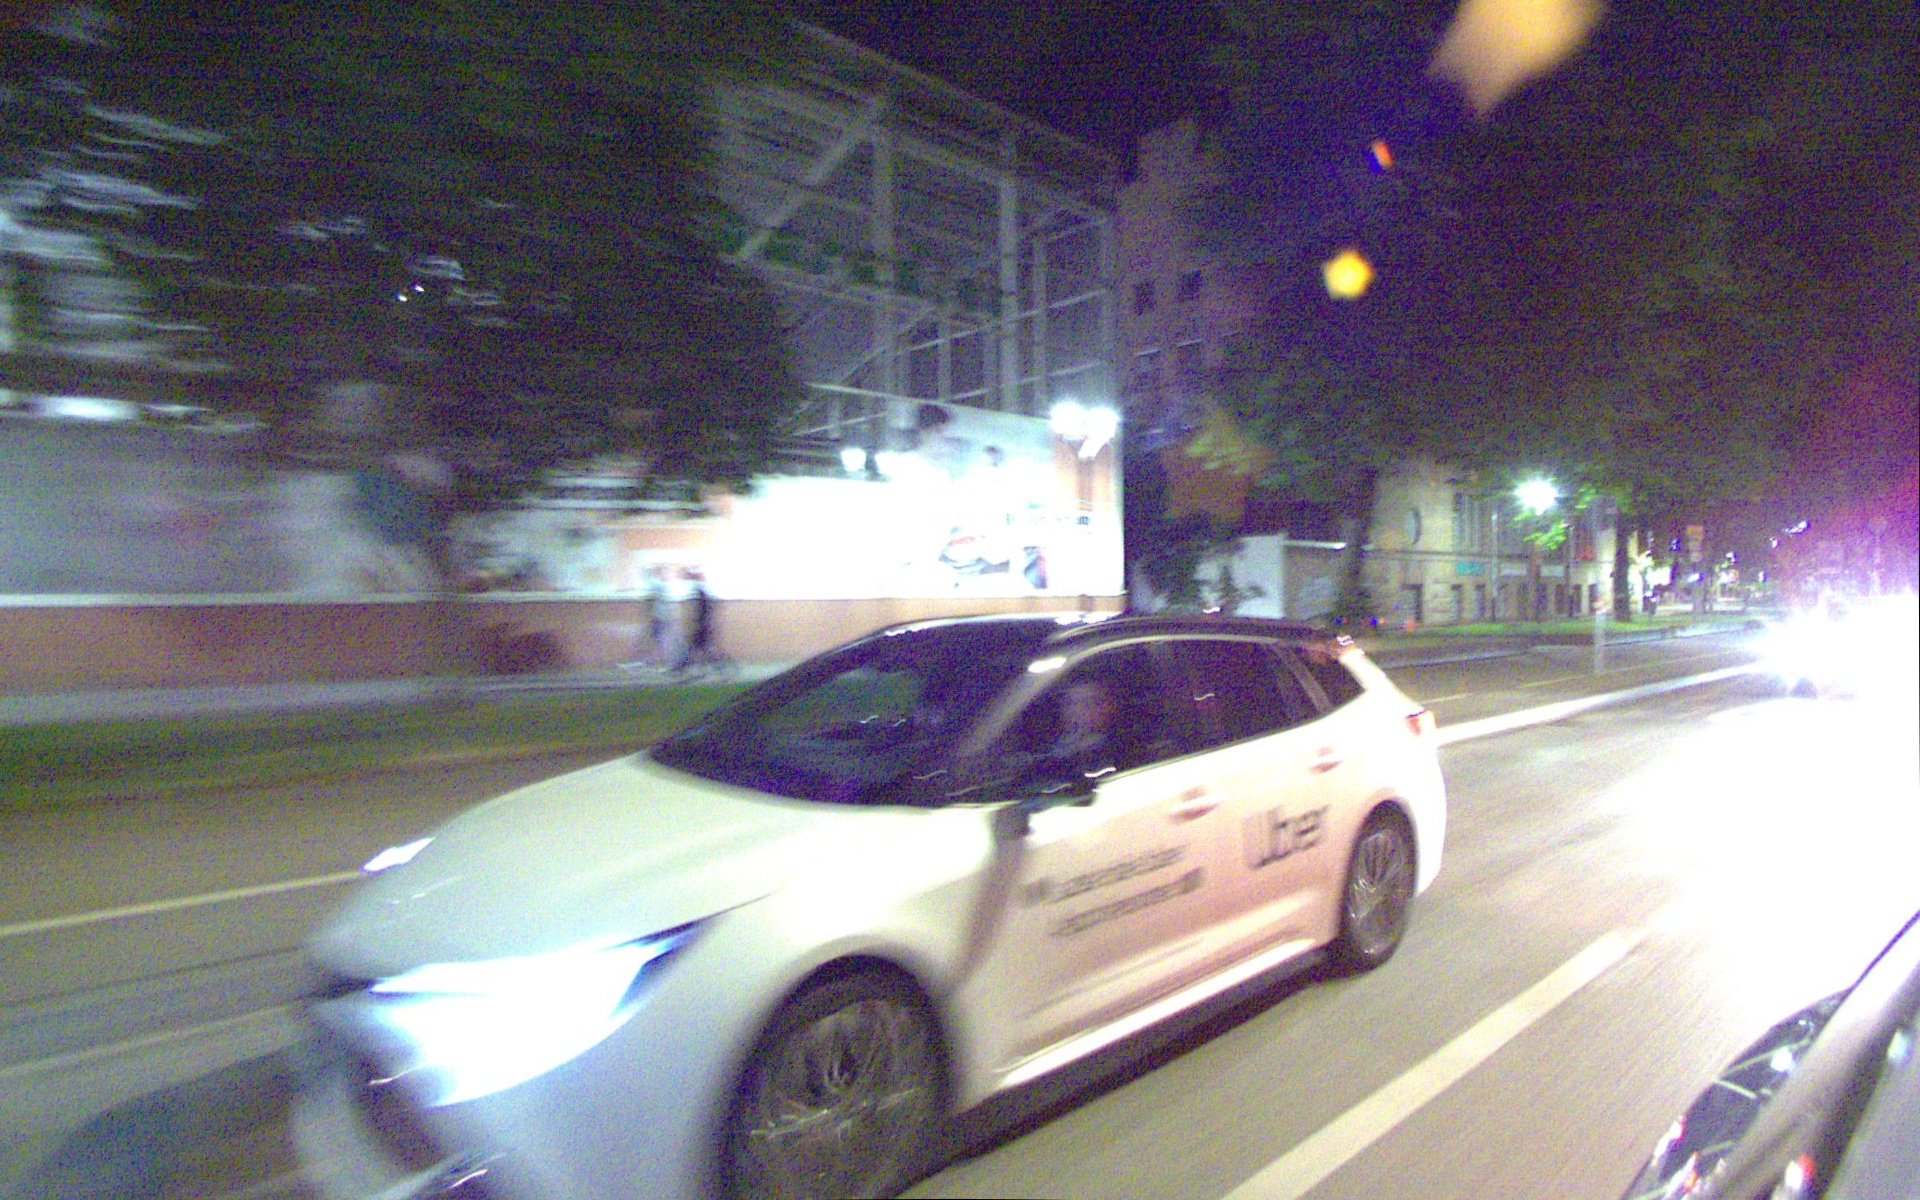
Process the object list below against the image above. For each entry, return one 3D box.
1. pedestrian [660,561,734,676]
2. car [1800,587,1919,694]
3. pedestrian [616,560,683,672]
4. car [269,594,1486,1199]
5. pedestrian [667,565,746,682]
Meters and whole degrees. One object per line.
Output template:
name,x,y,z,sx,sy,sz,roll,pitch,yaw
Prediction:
pedestrian,-4.295,0.272,16.540,0.953,1.811,0.720,0,1,-40
car,14.301,0.544,15.535,3.774,1.456,1.632,-1,0,-42
pedestrian,-5.236,0.247,17.061,0.890,1.839,0.675,0,1,-40
car,0.160,0.724,3.815,4.420,1.448,1.727,-1,0,-41
pedestrian,-3.946,0.338,15.736,0.968,1.738,0.736,0,1,-40
